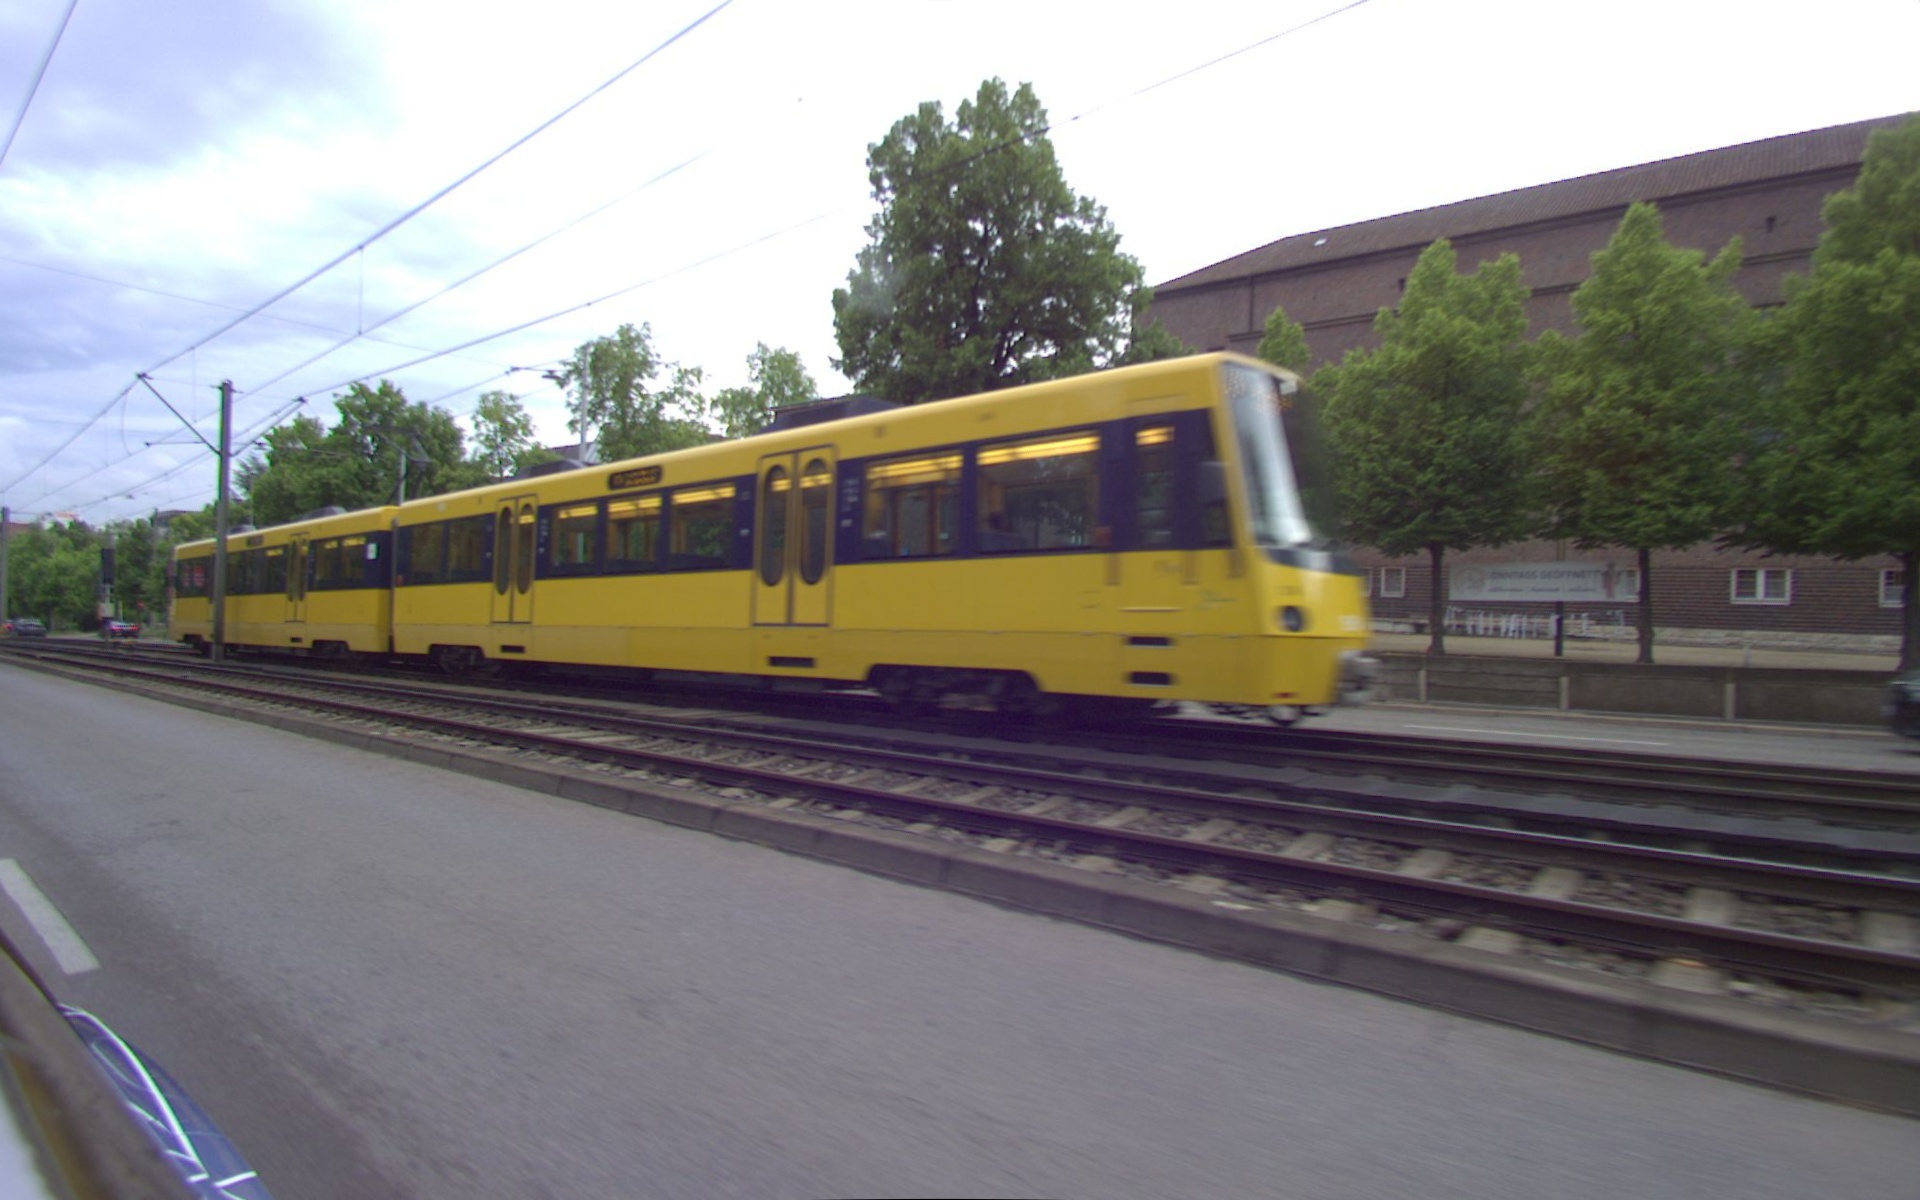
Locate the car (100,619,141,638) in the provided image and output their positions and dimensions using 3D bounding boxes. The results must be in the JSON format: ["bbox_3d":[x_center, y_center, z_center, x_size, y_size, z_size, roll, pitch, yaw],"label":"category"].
[{"bbox_3d":[-70.484,2.373,84.952,4.337,1.513,1.933,-1,-2,40],"label":"car"}]

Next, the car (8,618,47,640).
[{"bbox_3d":[-72.477,2.245,78.615,4.337,1.650,1.670,-1,-2,40],"label":"car"}]

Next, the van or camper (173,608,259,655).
[{"bbox_3d":[-33.216,1.372,45.117,5.690,1.974,1.893,-1,-2,41],"label":"van or camper"}]

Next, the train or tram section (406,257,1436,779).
[{"bbox_3d":[-3.001,-0.512,14.688,17.866,4.006,2.799,-1,-2,41],"label":"train or tram section"}]

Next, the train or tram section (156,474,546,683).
[{"bbox_3d":[-17.298,-0.278,27.015,20.016,4.006,2.799,-1,-2,41],"label":"train or tram section"}]

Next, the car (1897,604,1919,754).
[{"bbox_3d":[12.912,0.892,10.482,4.519,1.656,1.974,-1,-3,39],"label":"car"}]

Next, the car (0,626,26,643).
[{"bbox_3d":[-92.318,3.333,98.320,4.337,1.523,1.747,-1,-2,40],"label":"car"}]
